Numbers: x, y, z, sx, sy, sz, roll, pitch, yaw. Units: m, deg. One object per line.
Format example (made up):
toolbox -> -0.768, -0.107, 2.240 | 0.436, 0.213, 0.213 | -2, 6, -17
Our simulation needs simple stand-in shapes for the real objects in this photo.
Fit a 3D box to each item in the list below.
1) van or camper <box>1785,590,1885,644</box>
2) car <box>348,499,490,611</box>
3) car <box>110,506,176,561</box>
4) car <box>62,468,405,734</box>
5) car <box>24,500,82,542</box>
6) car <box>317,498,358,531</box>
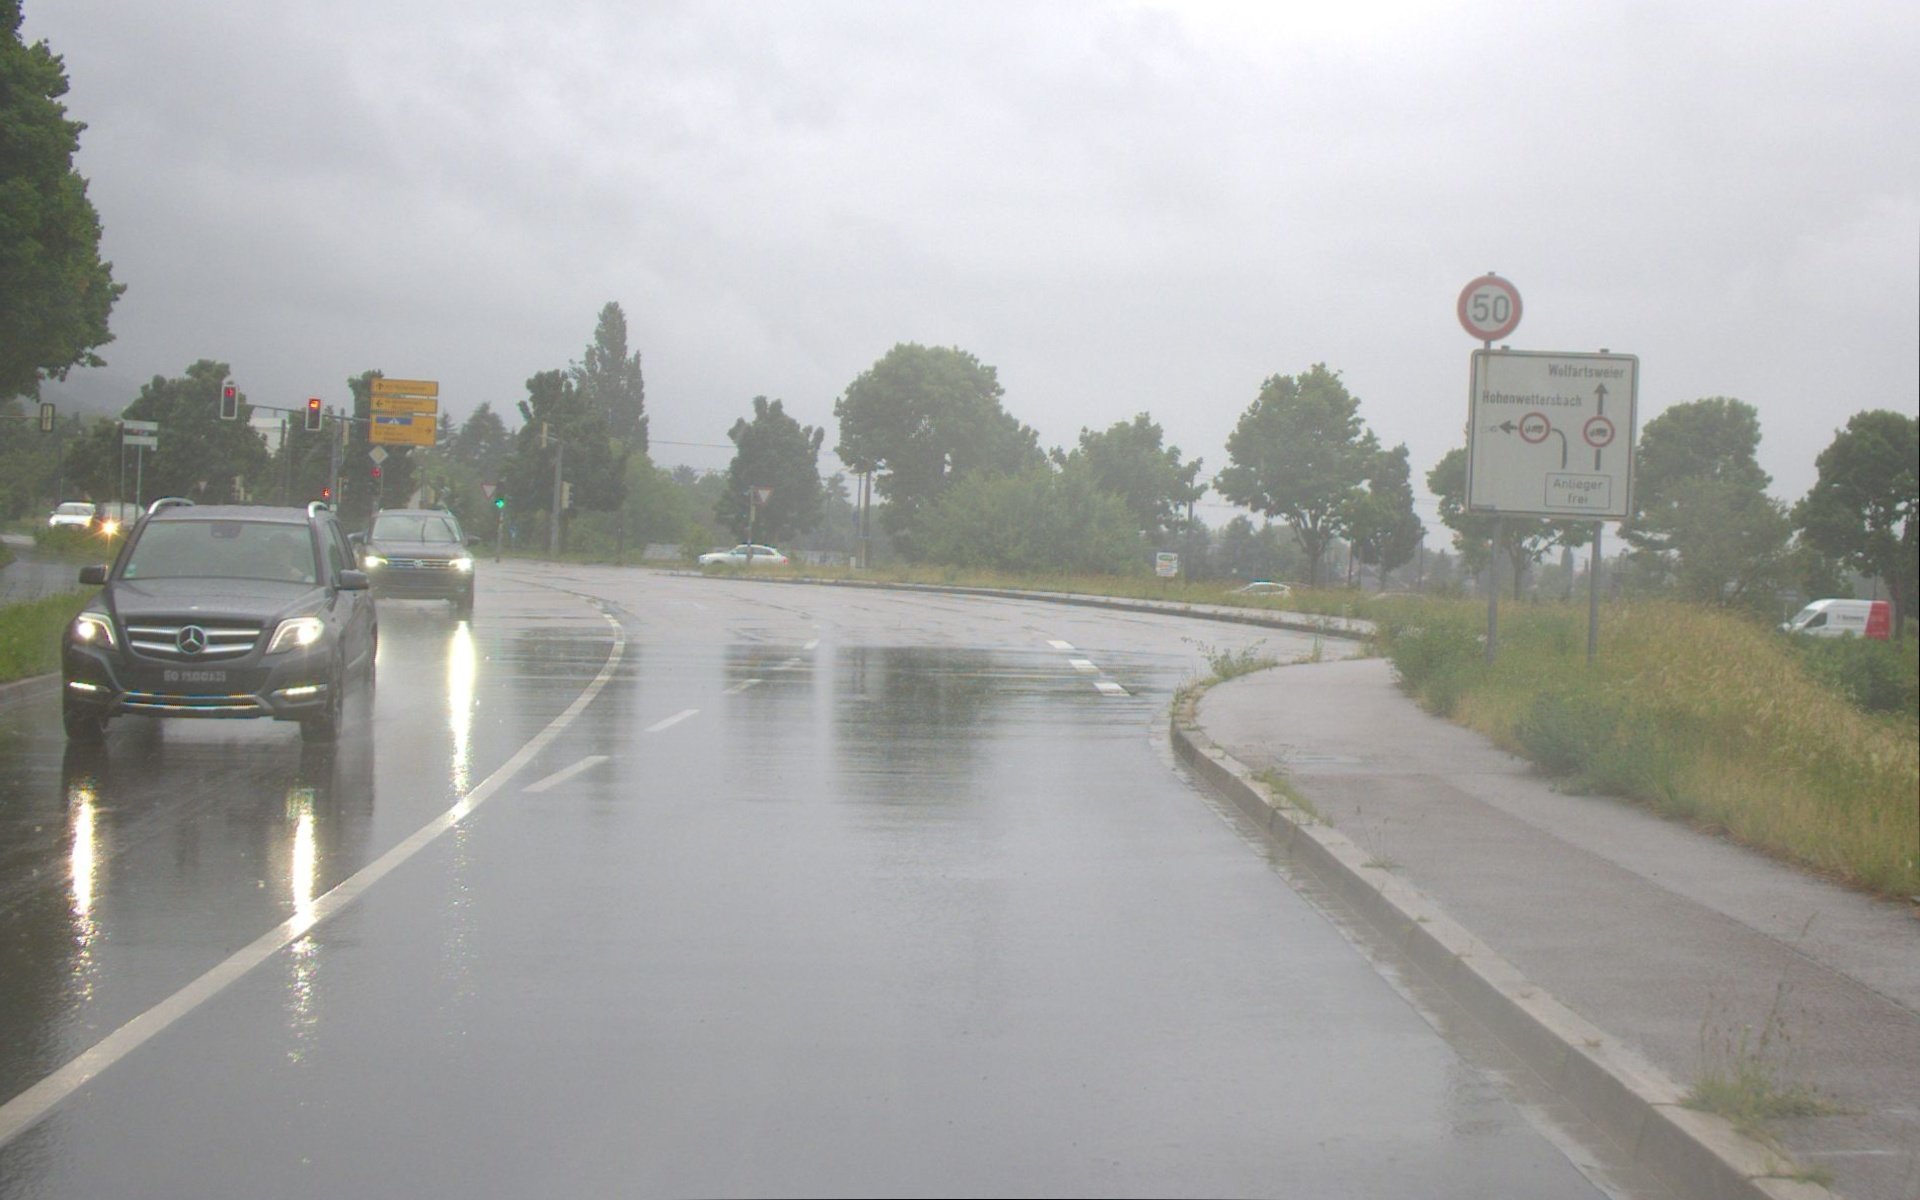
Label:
van or camper -> 44.603, 0.848, 175.270 | 4.683, 2.347, 2.015 | 5, 1, 13
car -> -8.921, -0.762, 56.972 | 1.924, 1.737, 4.289 | 1, 1, -4
car -> -26.056, -2.118, 109.690 | 1.883, 1.582, 4.120 | 4, 0, -13
car -> -5.086, -0.035, 24.557 | 1.741, 1.698, 4.223 | 1, 1, -3
car -> -35.055, -3.068, 132.806 | 1.878, 1.568, 4.646 | 1, 1, -18
car -> -29.234, -3.995, 161.537 | 1.739, 1.482, 4.012 | 1, 1, -8
